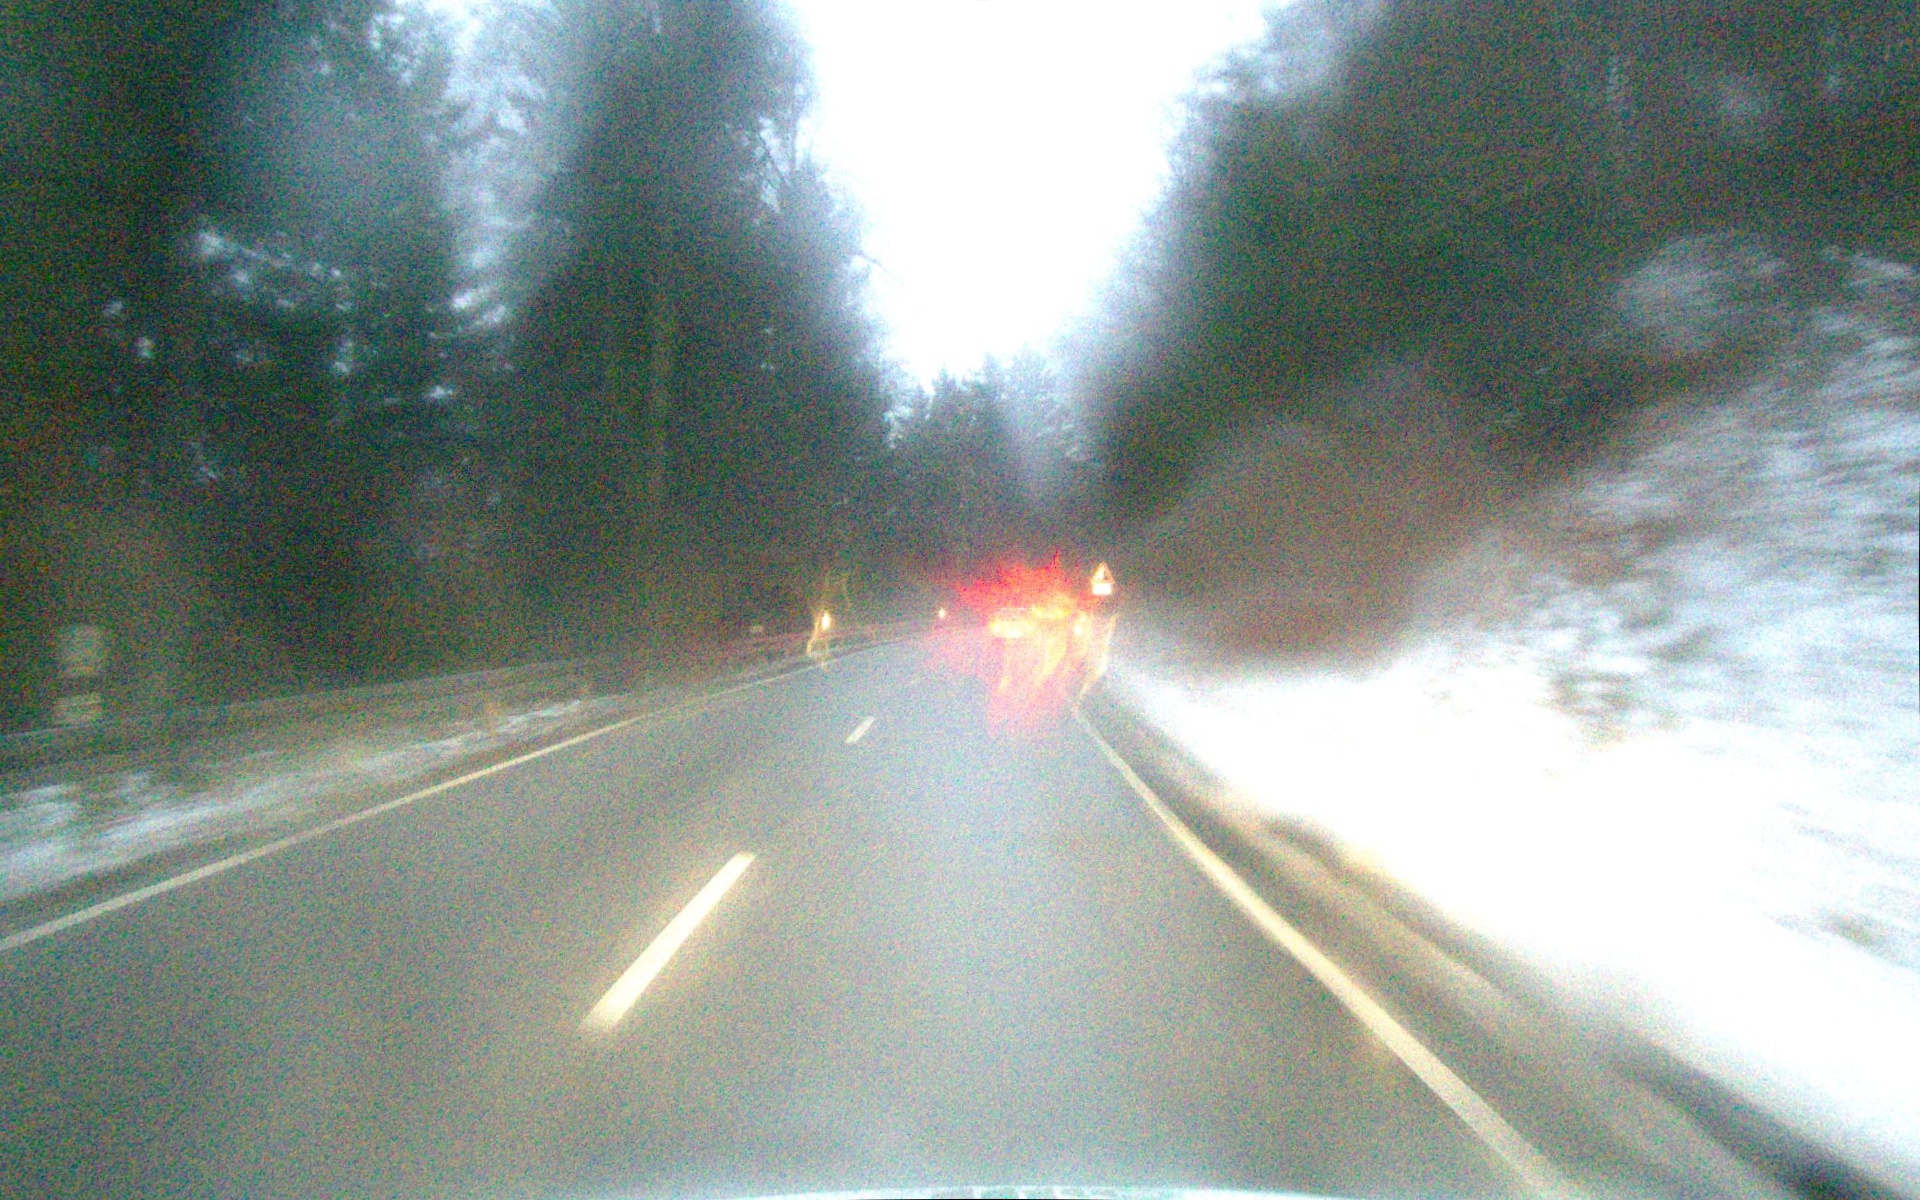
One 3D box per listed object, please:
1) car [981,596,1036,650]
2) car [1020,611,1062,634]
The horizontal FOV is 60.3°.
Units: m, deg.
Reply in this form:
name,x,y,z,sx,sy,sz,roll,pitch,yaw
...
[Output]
name,x,y,z,sx,sy,sz,roll,pitch,yaw
car,1.855,0.852,63.340,1.952,1.905,4.001,-2,0,1
car,4.918,1.358,100.903,1.955,1.333,3.995,-2,0,-6
